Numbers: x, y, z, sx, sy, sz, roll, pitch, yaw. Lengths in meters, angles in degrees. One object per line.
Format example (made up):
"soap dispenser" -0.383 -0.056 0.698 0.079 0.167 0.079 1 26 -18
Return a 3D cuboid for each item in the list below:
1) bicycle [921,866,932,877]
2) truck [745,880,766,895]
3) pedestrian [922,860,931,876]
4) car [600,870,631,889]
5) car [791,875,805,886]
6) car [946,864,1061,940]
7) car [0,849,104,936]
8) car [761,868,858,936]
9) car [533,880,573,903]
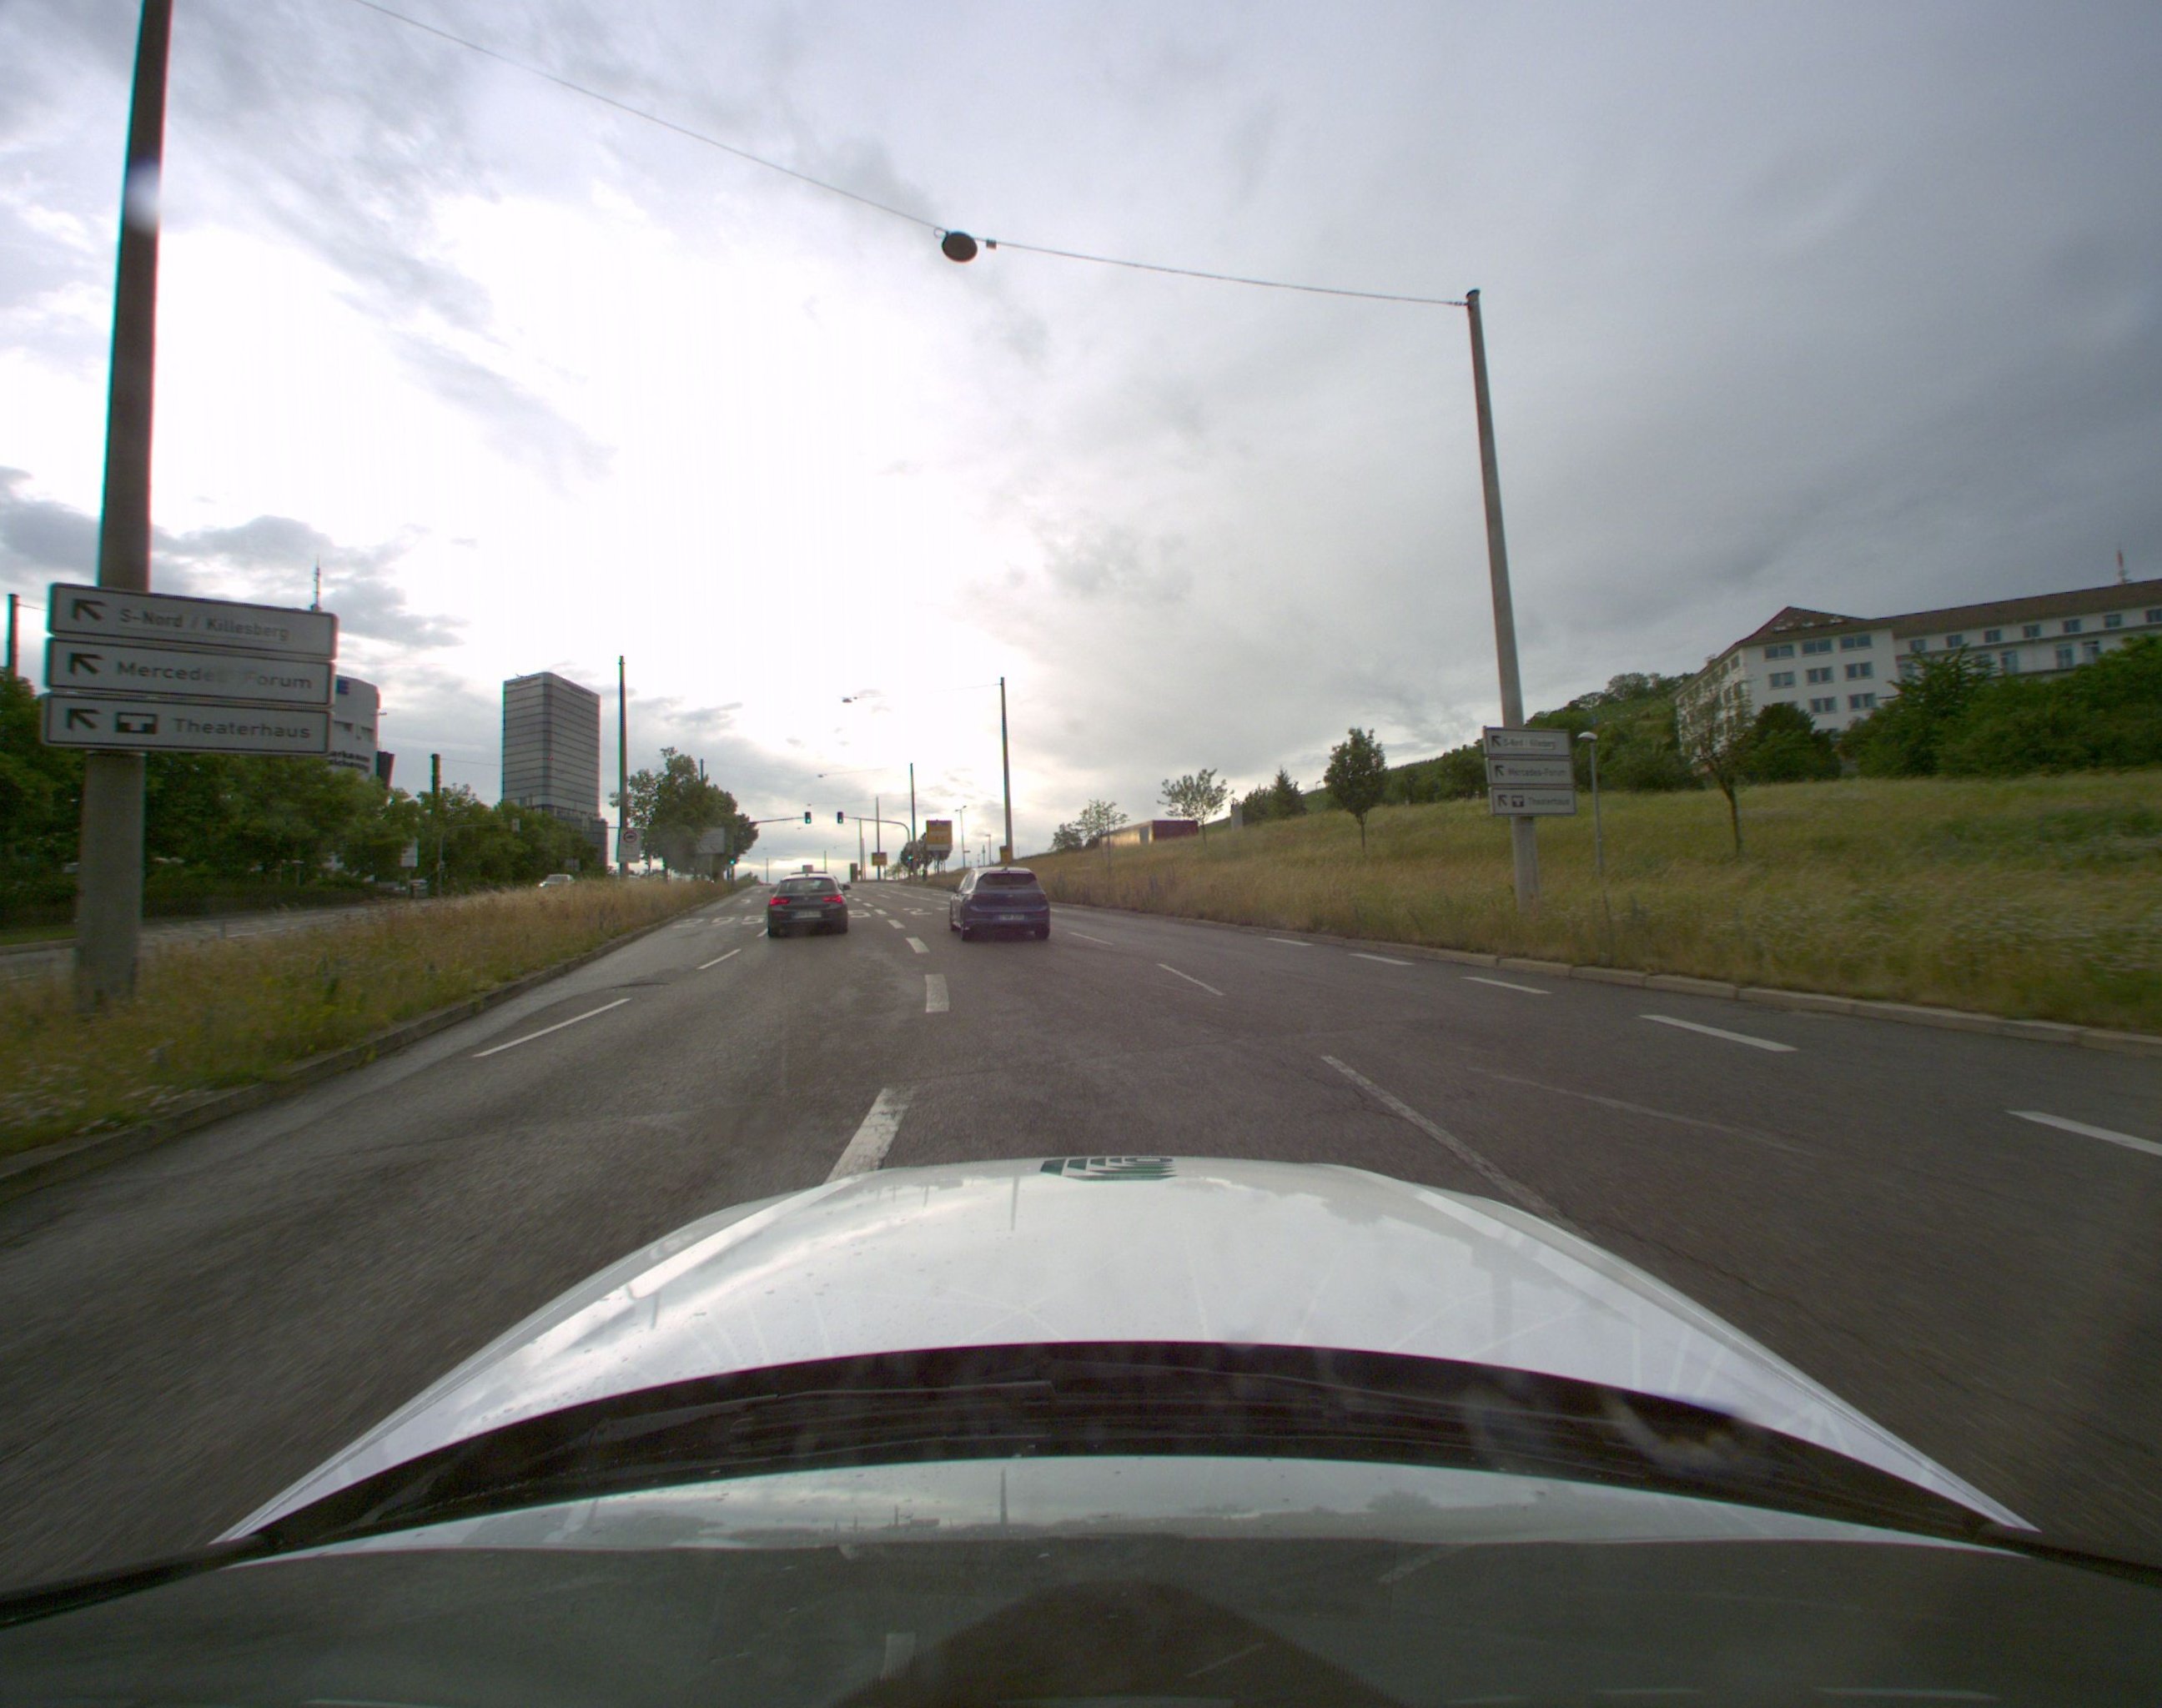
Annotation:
"bicycle" -15.993 1.825 84.442 0.636 1.105 1.737 -1 1 -29
"truck" -73.577 7.525 184.212 2.687 3.221 6.473 2 -5 -37
"pedestrian" -16.010 1.428 84.455 0.636 1.570 0.887 -2 0 -28
"car" -42.186 2.302 73.859 2.002 1.639 3.987 0 -1 -24
"car" -39.420 3.677 113.362 1.727 1.542 3.680 1 -2 -18
"car" -1.783 0.952 17.480 1.841 1.394 3.980 -1 -1 -14
"car" -26.363 0.960 19.549 2.001 2.014 3.971 -2 -1 -22
"car" -6.527 1.106 19.948 1.871 1.461 3.957 -1 -1 -13
"car" -40.398 2.815 62.391 1.870 1.620 3.968 0 -1 -24
